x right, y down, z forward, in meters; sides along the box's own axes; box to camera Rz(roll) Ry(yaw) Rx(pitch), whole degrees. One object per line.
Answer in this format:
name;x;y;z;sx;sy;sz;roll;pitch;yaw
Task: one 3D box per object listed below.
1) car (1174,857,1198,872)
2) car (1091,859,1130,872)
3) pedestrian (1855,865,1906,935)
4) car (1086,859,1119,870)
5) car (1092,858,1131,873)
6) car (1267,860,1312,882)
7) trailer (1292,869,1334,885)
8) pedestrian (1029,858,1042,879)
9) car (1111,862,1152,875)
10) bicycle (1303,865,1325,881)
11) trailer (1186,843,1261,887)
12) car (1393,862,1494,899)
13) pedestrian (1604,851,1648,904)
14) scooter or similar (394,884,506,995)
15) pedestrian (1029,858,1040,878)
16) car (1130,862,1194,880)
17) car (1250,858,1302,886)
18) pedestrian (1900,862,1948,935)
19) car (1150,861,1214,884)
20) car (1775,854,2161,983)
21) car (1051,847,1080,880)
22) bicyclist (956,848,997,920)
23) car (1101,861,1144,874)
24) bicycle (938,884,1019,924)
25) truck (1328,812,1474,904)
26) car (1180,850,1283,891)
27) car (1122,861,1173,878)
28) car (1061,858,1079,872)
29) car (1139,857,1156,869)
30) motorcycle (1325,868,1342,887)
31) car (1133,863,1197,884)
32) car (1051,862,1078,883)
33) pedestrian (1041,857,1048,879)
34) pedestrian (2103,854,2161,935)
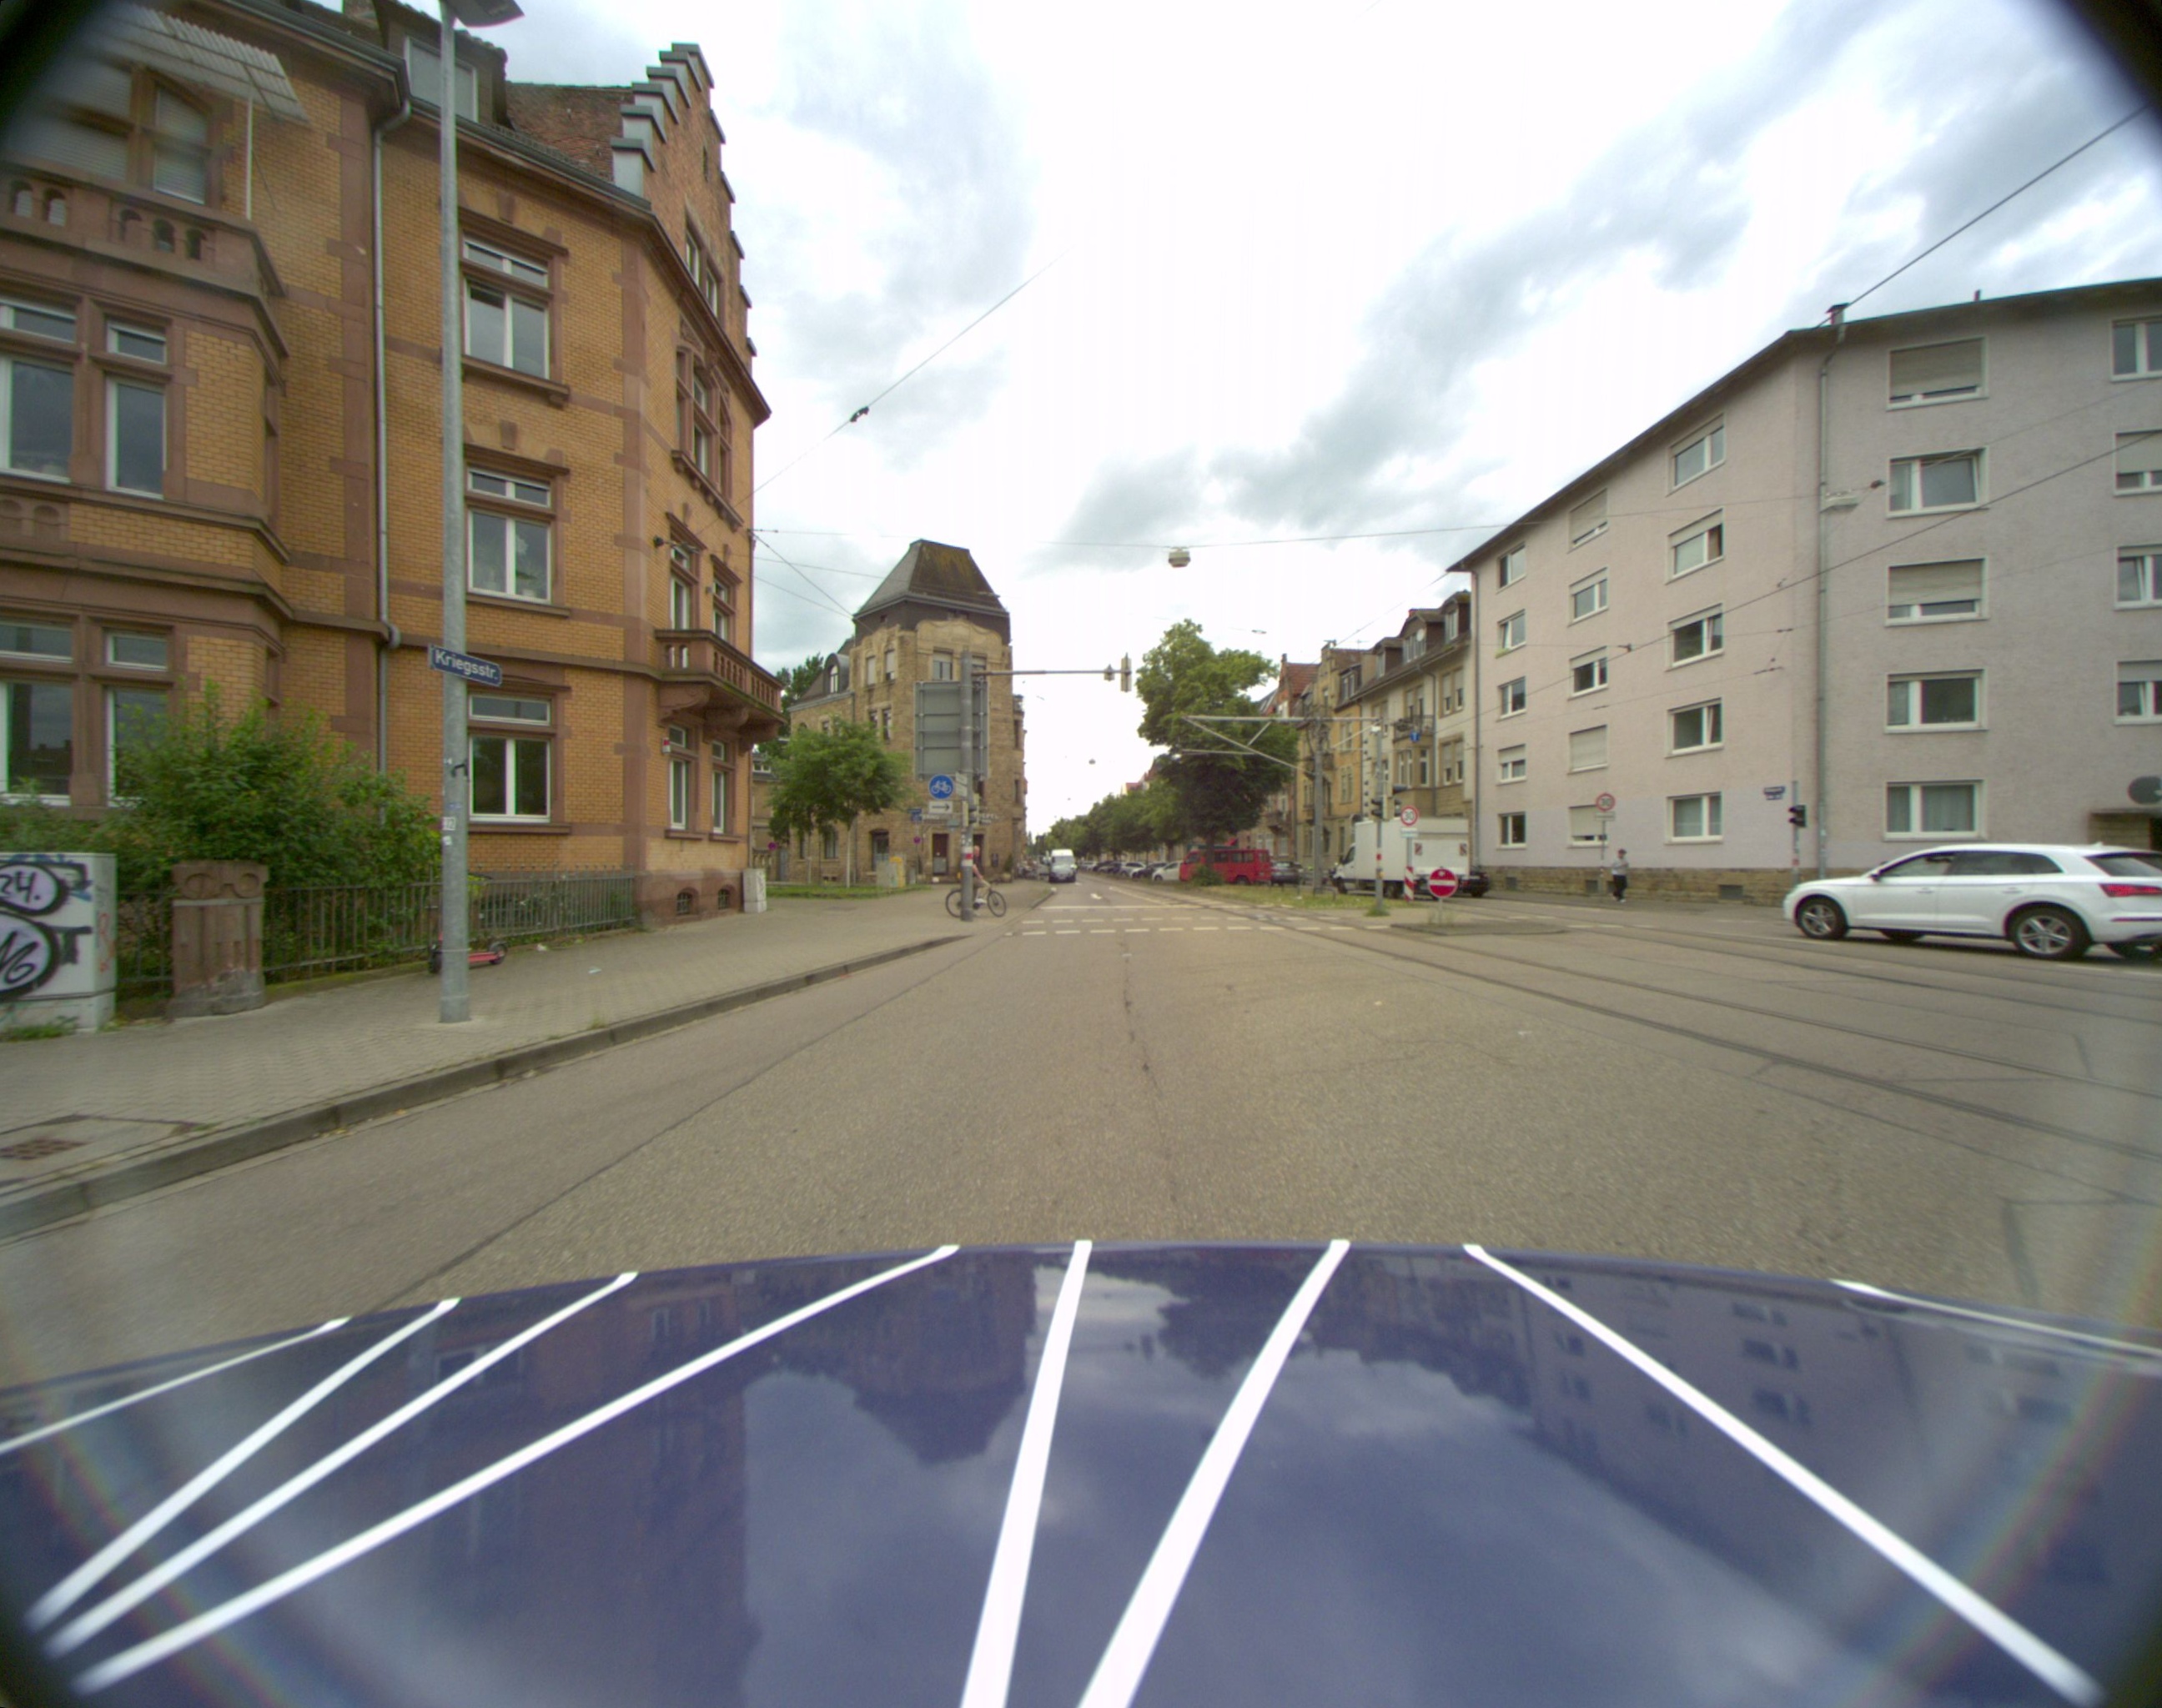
car;11.693;1.182;85.152;1.745;1.617;4.552;0;0;-5
car;3.656;1.411;95.022;4.528;1.481;2.040;0;0;40
pedestrian;18.141;1.037;17.250;0.570;1.548;0.534;0;0;8
car;2.831;1.426;102.389;4.118;1.304;1.867;-1;0;39
car;3.609;1.349;90.694;4.519;1.623;1.769;0;0;40
car;14.204;1.144;51.955;1.639;1.434;3.922;0;0;-5
trailer;14.456;1.434;47.488;1.459;0.887;3.075;1;0;-5
pedestrian;-3.750;1.193;62.400;0.866;1.690;0.537;2;0;-18
car;5.094;1.458;77.315;3.951;1.195;1.672;-1;0;40
bicycle;16.841;1.350;54.916;0.713;1.066;2.259;0;0;-6
trailer;7.901;0.588;42.109;3.661;2.330;1.935;0;0;29
car;15.187;1.064;32.141;1.639;1.434;4.760;0;0;-5
pedestrian;18.334;0.777;25.555;0.800;1.756;0.900;0;0;-5
scooter or similar;-7.135;0.933;8.647;0.377;1.134;1.199;0;0;-6
pedestrian;-3.894;1.189;64.168;0.706;1.690;0.491;2;0;-31
car;6.357;1.307;59.699;4.675;1.426;1.903;0;0;35
car;11.326;1.024;44.375;1.649;1.525;4.130;0;0;-5
pedestrian;18.266;0.952;16.465;0.534;1.548;0.569;0;0;-26
car;6.557;1.160;49.532;3.852;1.454;1.693;0;0;38
car;14.073;0.813;11.977;1.776;1.629;4.534;0;0;-8
car;-1.338;0.782;62.406;2.019;2.534;7.014;-2;0;-3
bicyclist;-2.652;0.748;19.323;0.683;1.785;0.889;-1;0;-35
car;4.596;1.471;84.143;4.654;1.360;1.761;-1;0;39
bicycle;-2.573;1.239;19.222;1.872;0.918;0.794;0;0;-36
truck;12.220;0.130;29.850;2.191;3.139;7.328;0;0;-4
car;7.620;0.798;38.710;4.754;1.962;1.964;0;0;34
car;5.858;1.330;67.126;4.106;1.475;1.801;-1;0;37
car;-1.429;1.420;97.021;1.829;1.661;5.041;-1;0;-5
car;9.665;1.357;110.718;1.810;1.670;4.271;0;0;-5
motorcycle;14.844;1.375;44.678;0.710;1.032;2.232;0;0;13
car;6.112;1.410;55.626;4.328;1.426;1.903;0;0;38
car;-1.268;1.316;55.998;1.829;1.441;5.005;-1;0;-3
pedestrian;-3.062;1.174;63.479;0.500;1.804;0.803;2;0;-3
pedestrian;24.192;0.904;17.360;0.721;1.802;0.684;0;0;12
